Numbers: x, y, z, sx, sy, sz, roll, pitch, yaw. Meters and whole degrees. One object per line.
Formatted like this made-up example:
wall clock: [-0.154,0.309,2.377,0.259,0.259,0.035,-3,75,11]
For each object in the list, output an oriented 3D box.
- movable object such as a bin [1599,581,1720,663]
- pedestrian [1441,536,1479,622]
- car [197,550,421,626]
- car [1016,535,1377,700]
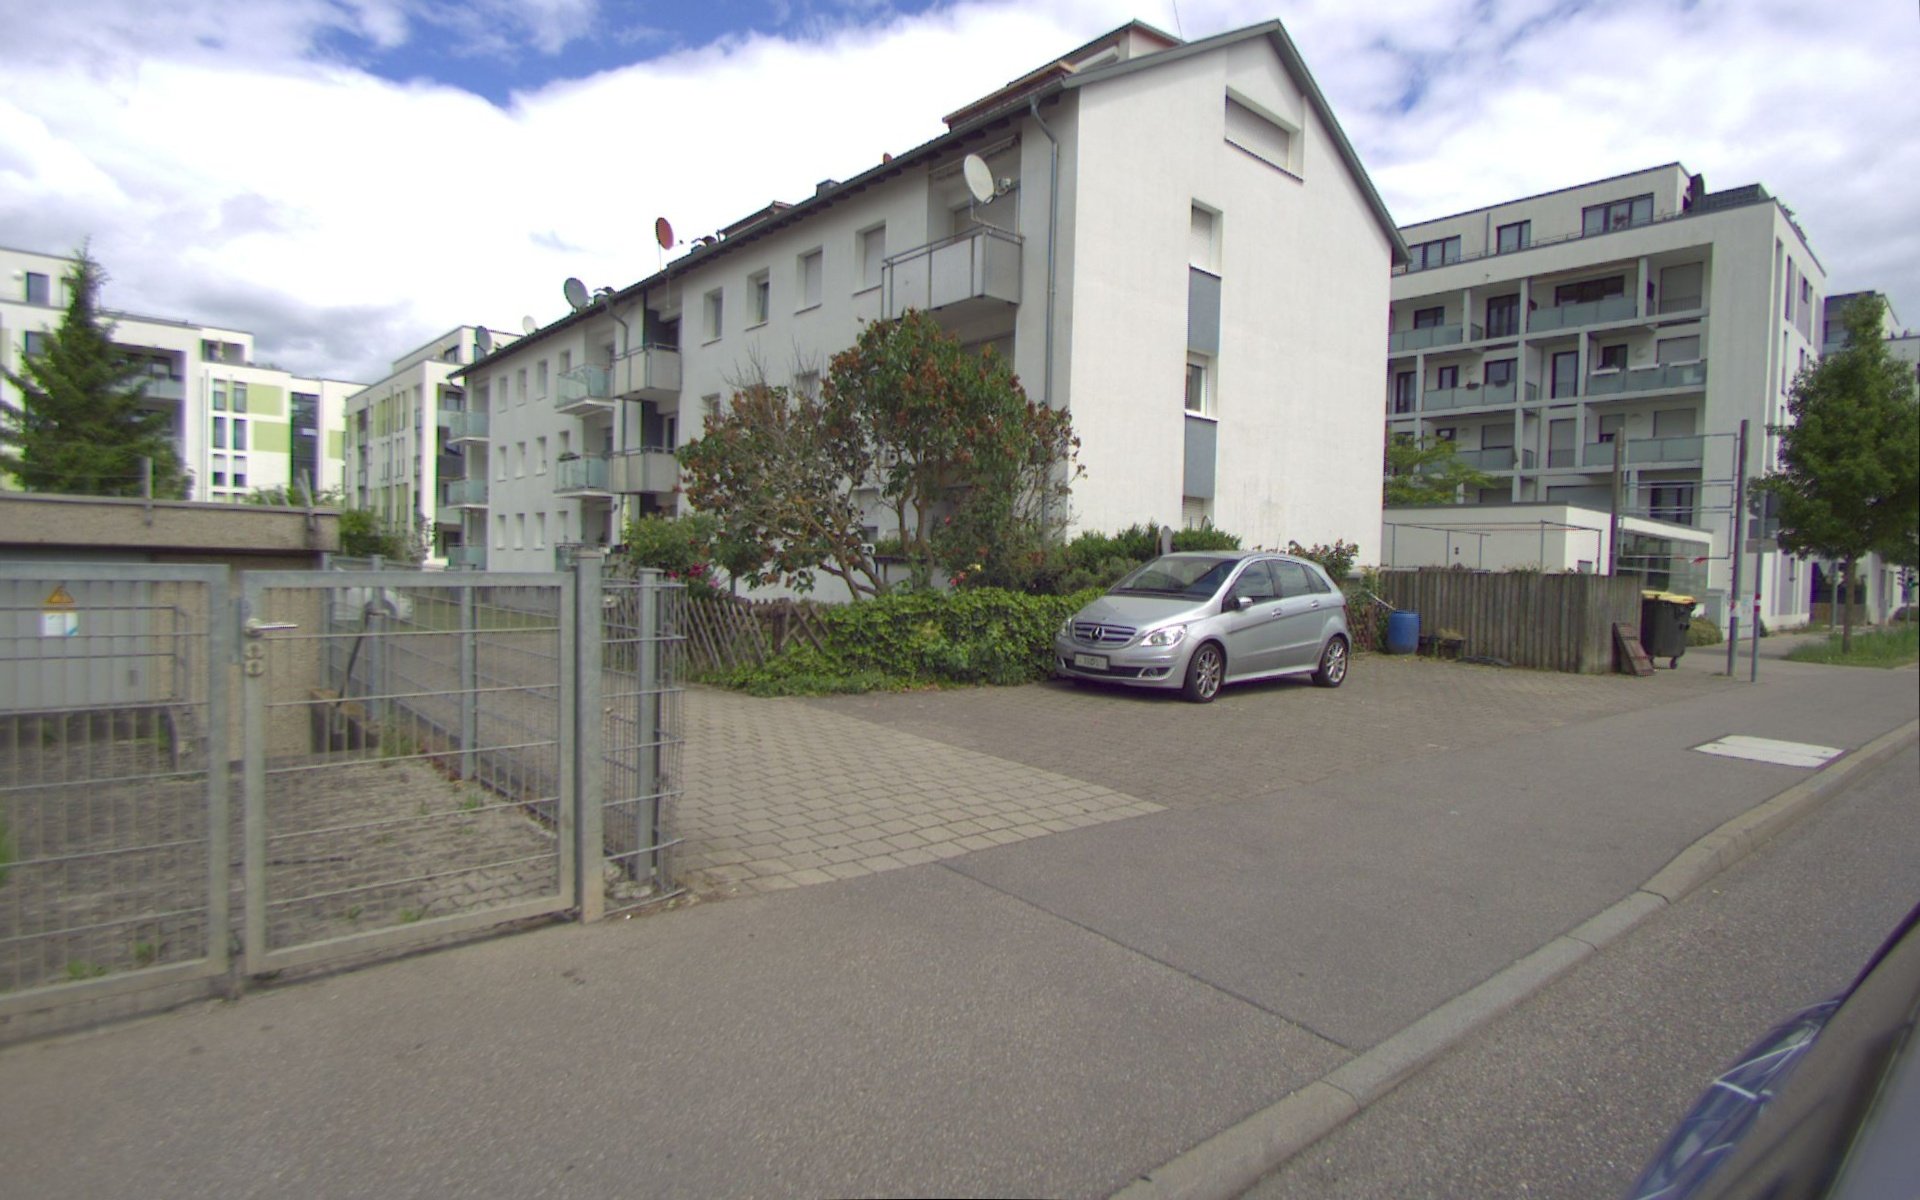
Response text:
movable object such as a bin: [12.623,0.360,18.287,1.225,1.378,1.326,-1,3,-24]
pedestrian: [10.592,-0.442,21.454,0.490,1.787,0.509,-1,0,-24]
car: [-14.258,-0.282,22.253,3.930,1.527,1.935,-1,1,-40]
car: [2.900,0.129,11.811,4.444,1.564,1.878,0,2,-42]
